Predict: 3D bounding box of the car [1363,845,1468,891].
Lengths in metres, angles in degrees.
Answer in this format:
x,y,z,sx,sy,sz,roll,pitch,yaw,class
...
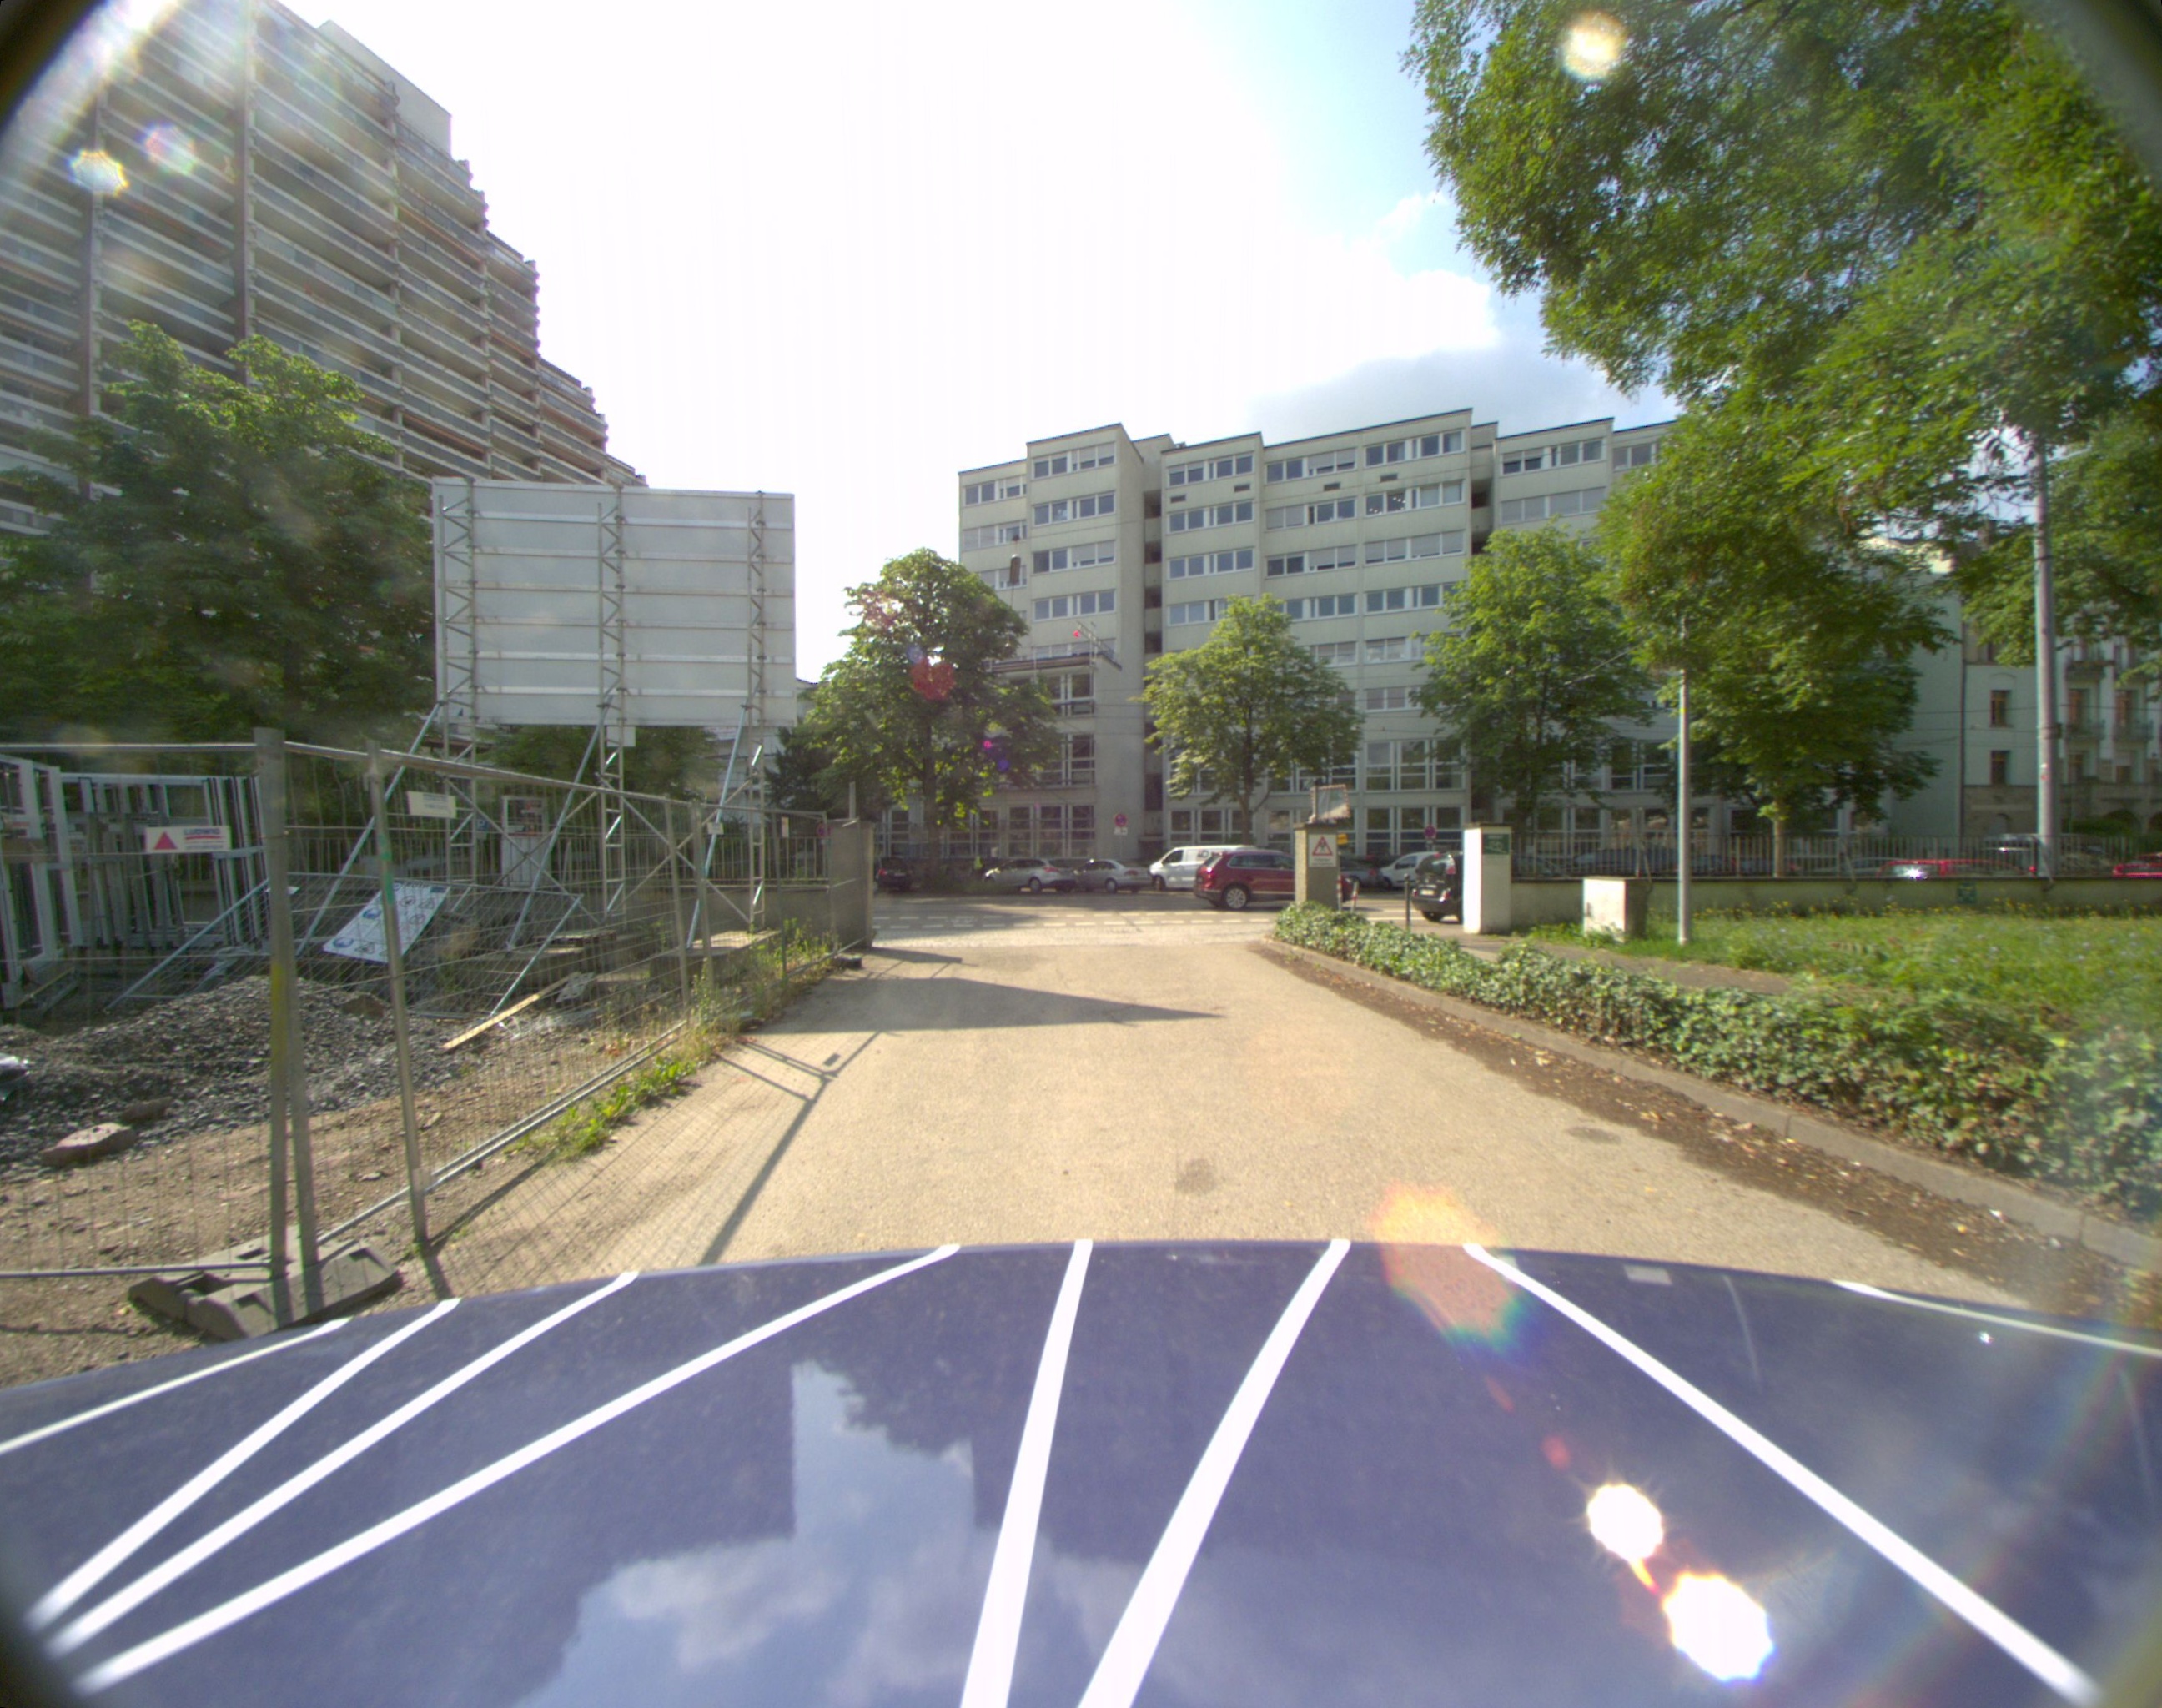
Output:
x,y,z,sx,sy,sz,roll,pitch,yaw,class
14.682,0.628,33.383,3.749,1.703,1.886,-4,3,39,car

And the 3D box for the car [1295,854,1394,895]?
x,y,z,sx,sy,sz,roll,pitch,yaw,class
11.460,0.899,33.156,3.627,1.492,1.765,-4,2,37,car

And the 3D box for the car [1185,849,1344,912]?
x,y,z,sx,sy,sz,roll,pitch,yaw,class
5.085,0.700,21.315,3.970,1.602,1.678,-1,1,-7,car

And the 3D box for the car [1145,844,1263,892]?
x,y,z,sx,sy,sz,roll,pitch,yaw,class
5.098,0.620,32.004,4.629,1.900,1.937,-2,-2,43,car

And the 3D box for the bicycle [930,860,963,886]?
x,y,z,sx,sy,sz,roll,pitch,yaw,class
-6.978,0.971,39.459,0.496,1.081,2.058,-5,3,24,bicycle

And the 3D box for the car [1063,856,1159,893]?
x,y,z,sx,sy,sz,roll,pitch,yaw,class
1.244,0.891,32.410,3.773,1.466,1.729,-3,-1,42,car

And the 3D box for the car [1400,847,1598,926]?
x,y,z,sx,sy,sz,roll,pitch,yaw,class
9.400,0.721,17.239,3.583,1.602,1.679,-1,-1,-5,car

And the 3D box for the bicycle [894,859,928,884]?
x,y,z,sx,sy,sz,roll,pitch,yaw,class
-8.883,0.902,39.808,0.496,1.081,2.058,-5,3,24,bicycle

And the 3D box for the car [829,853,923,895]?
x,y,z,sx,sy,sz,roll,pitch,yaw,class
-8.570,0.851,31.548,3.990,1.454,1.762,-4,3,42,car

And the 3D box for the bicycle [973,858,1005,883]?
x,y,z,sx,sy,sz,roll,pitch,yaw,class
-4.666,0.818,38.664,0.496,1.081,2.058,-5,3,24,bicycle

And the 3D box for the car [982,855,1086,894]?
x,y,z,sx,sy,sz,roll,pitch,yaw,class
-2.028,0.902,32.235,4.225,1.455,1.787,-4,-3,38,car

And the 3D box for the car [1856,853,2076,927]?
x,y,z,sx,sy,sz,roll,pitch,yaw,class
21.340,0.843,18.399,3.583,1.602,1.679,-1,-1,-5,car

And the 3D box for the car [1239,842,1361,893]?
x,y,z,sx,sy,sz,roll,pitch,yaw,class
9.167,0.580,32.070,4.561,1.985,1.908,-1,-1,43,car

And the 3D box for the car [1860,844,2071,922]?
x,y,z,sx,sy,sz,roll,pitch,yaw,class
21.332,0.670,18.408,3.278,1.477,1.672,-6,0,-5,car

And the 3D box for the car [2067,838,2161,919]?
x,y,z,sx,sy,sz,roll,pitch,yaw,class
28.226,0.524,19.295,3.998,1.696,1.965,-6,2,-4,car

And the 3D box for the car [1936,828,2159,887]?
x,y,z,sx,sy,sz,roll,pitch,yaw,class
30.887,0.133,24.392,4.835,1.762,1.947,0,-3,-3,car

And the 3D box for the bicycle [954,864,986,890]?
x,y,z,sx,sy,sz,roll,pitch,yaw,class
-5.623,1.166,38.665,0.496,1.081,2.058,-5,3,24,bicycle
